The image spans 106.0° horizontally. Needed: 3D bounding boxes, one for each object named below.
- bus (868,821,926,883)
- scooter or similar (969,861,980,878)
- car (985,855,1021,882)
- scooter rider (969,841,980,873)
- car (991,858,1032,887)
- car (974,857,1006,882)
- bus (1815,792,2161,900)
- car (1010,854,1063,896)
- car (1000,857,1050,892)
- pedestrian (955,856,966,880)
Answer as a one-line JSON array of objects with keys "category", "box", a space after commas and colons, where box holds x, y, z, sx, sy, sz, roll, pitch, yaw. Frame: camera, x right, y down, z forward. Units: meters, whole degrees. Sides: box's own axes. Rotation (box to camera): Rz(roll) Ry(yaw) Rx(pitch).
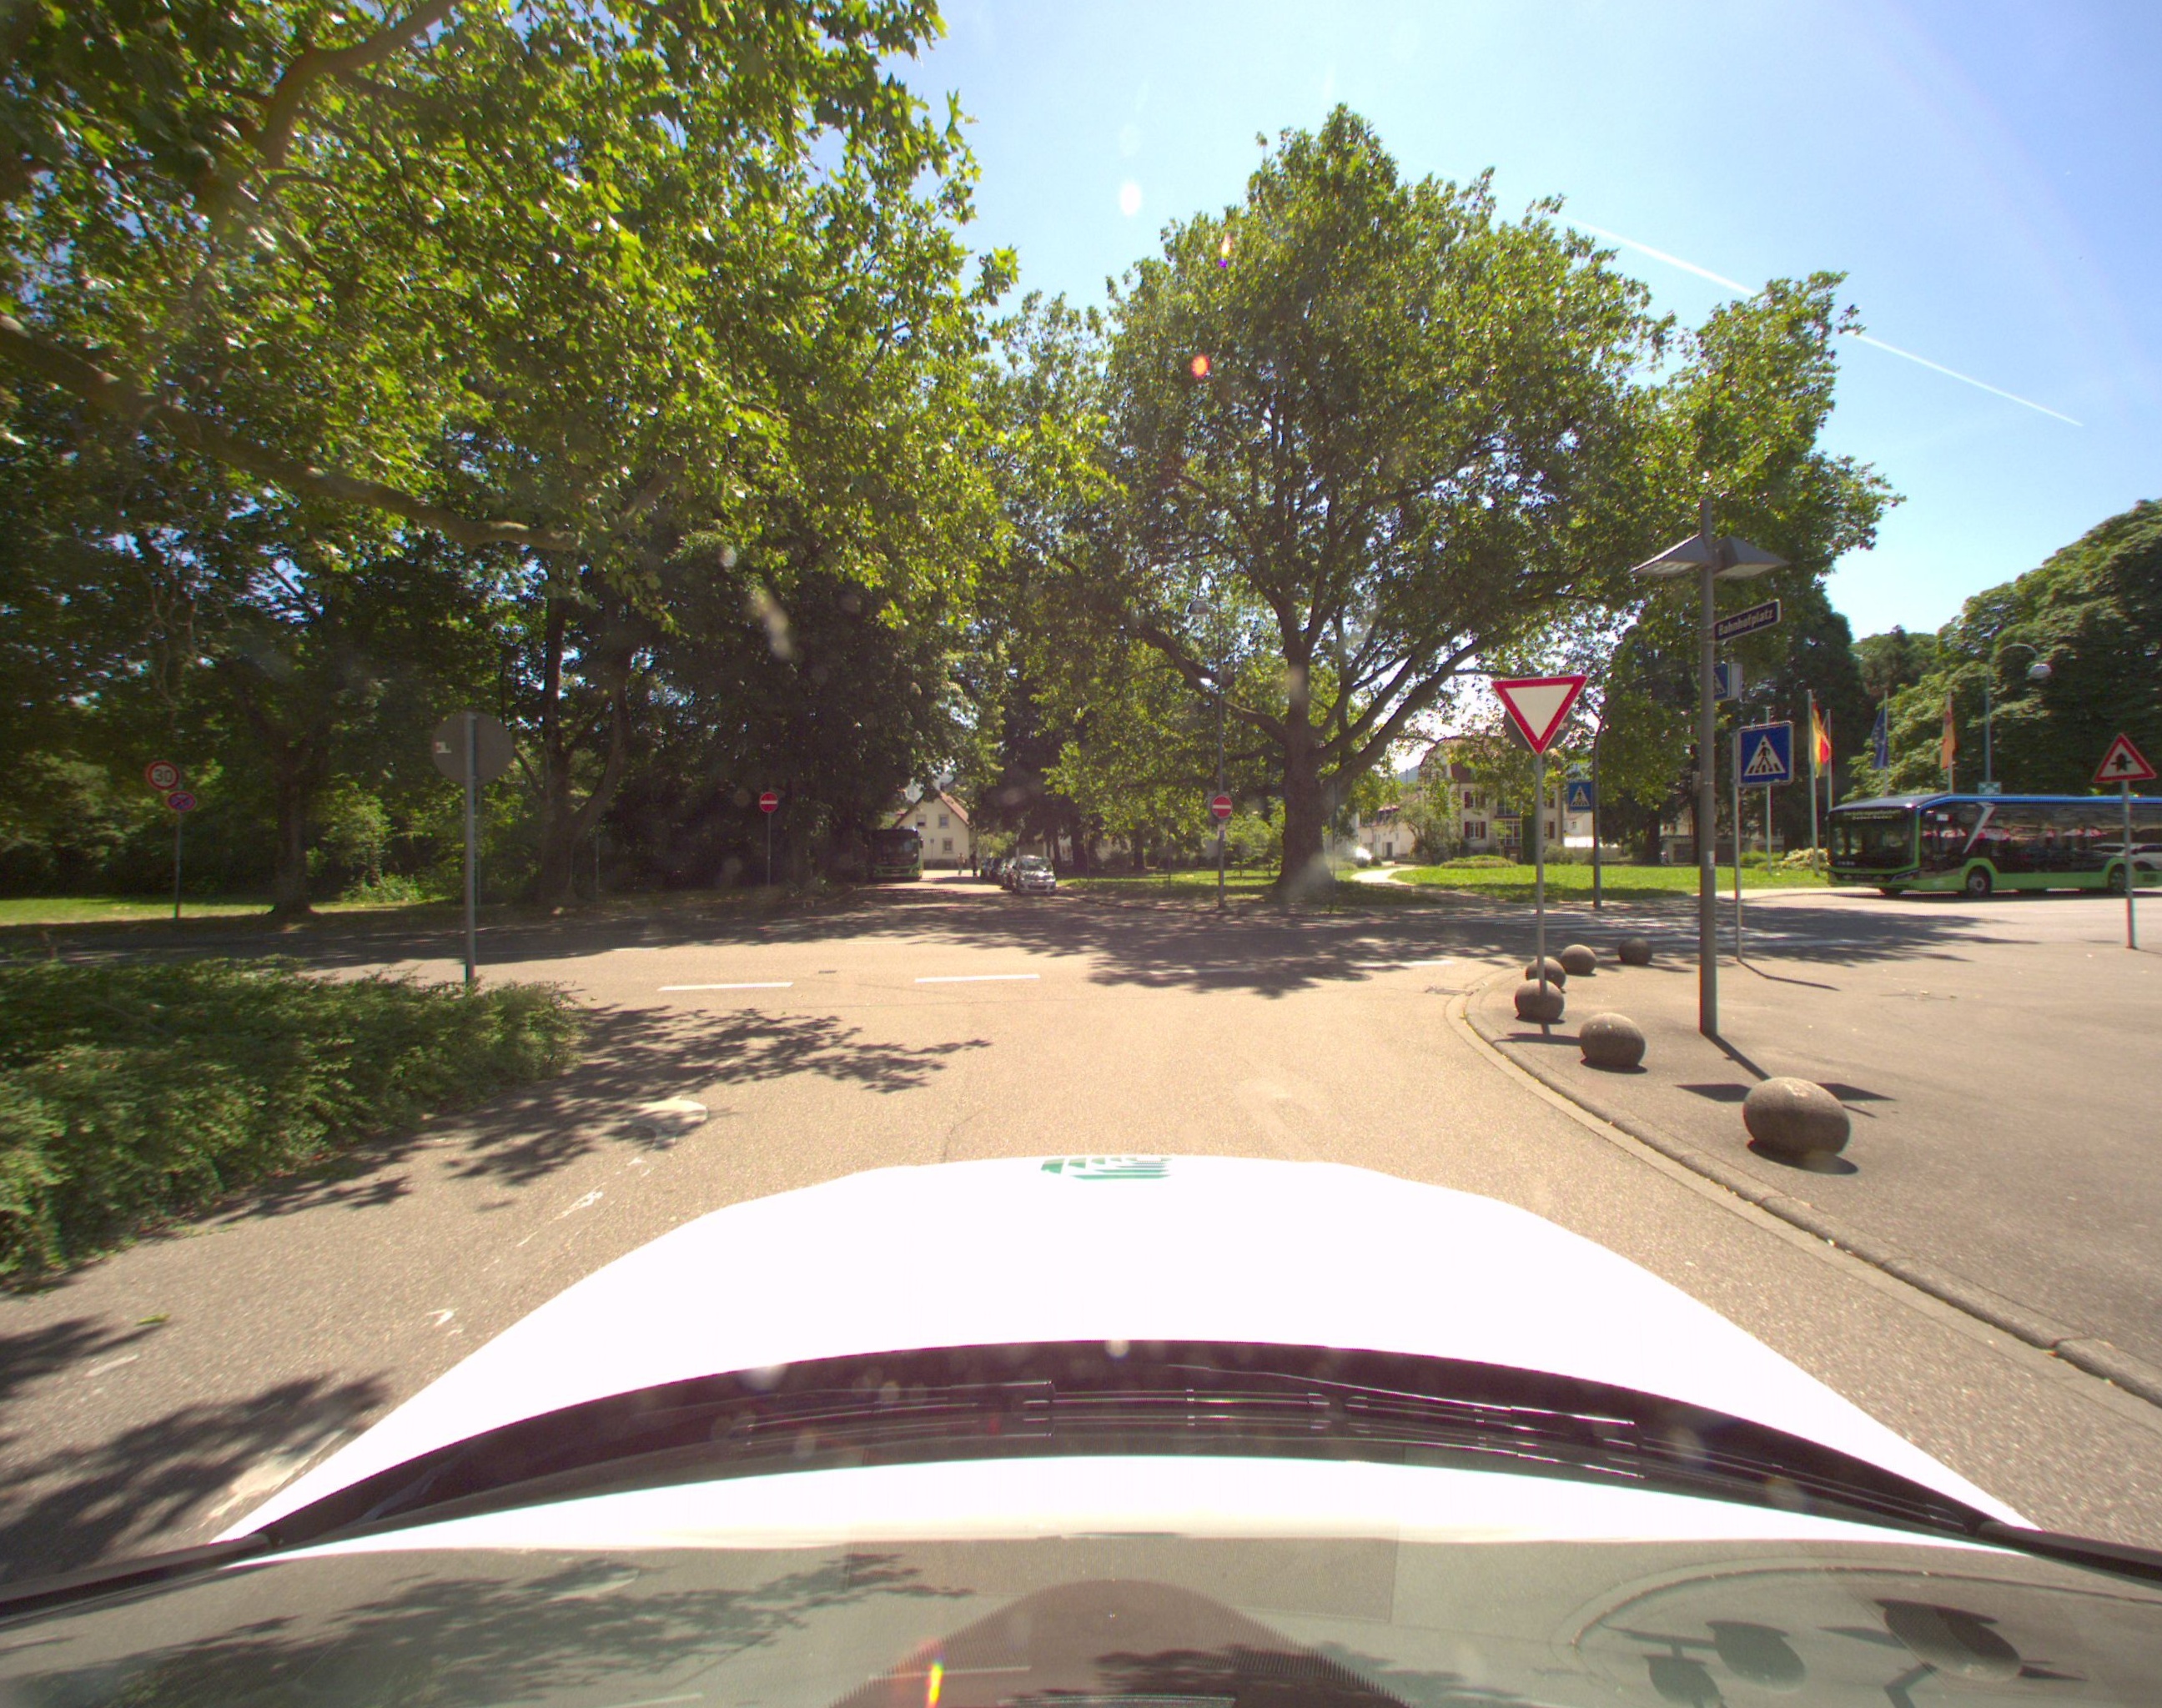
[{"category": "bus", "box": [-11.362, -0.109, 51.439, 2.869, 3.295, 15.893, 0, 0, -10]}, {"category": "scooter or similar", "box": [-7.696, 1.116, 58.592, 0.738, 1.183, 1.514, -1, 0, -9]}, {"category": "car", "box": [-4.684, 0.798, 48.297, 1.755, 1.493, 4.359, 0, 0, -11]}, {"category": "scooter rider", "box": [-7.701, 0.201, 58.605, 0.738, 2.317, 0.924, -1, 0, -9]}, {"category": "car", "box": [-3.758, 0.934, 43.652, 1.751, 1.439, 4.753, 0, 0, -10]}, {"category": "car", "box": [-5.871, 0.985, 52.222, 1.755, 1.493, 3.903, 0, 0, -11]}, {"category": "bus", "box": [31.053, -0.305, 27.286, 12.390, 3.283, 2.807, -1, 0, -12]}, {"category": "car", "box": [-1.785, 0.779, 31.787, 1.595, 1.497, 3.473, 1, 0, -10]}, {"category": "car", "box": [-2.616, 0.882, 37.099, 1.751, 1.439, 4.487, 1, 0, -10]}, {"category": "pedestrian", "box": [-9.068, 1.058, 61.302, 0.718, 1.802, 0.939, 0, 0, -5]}]
